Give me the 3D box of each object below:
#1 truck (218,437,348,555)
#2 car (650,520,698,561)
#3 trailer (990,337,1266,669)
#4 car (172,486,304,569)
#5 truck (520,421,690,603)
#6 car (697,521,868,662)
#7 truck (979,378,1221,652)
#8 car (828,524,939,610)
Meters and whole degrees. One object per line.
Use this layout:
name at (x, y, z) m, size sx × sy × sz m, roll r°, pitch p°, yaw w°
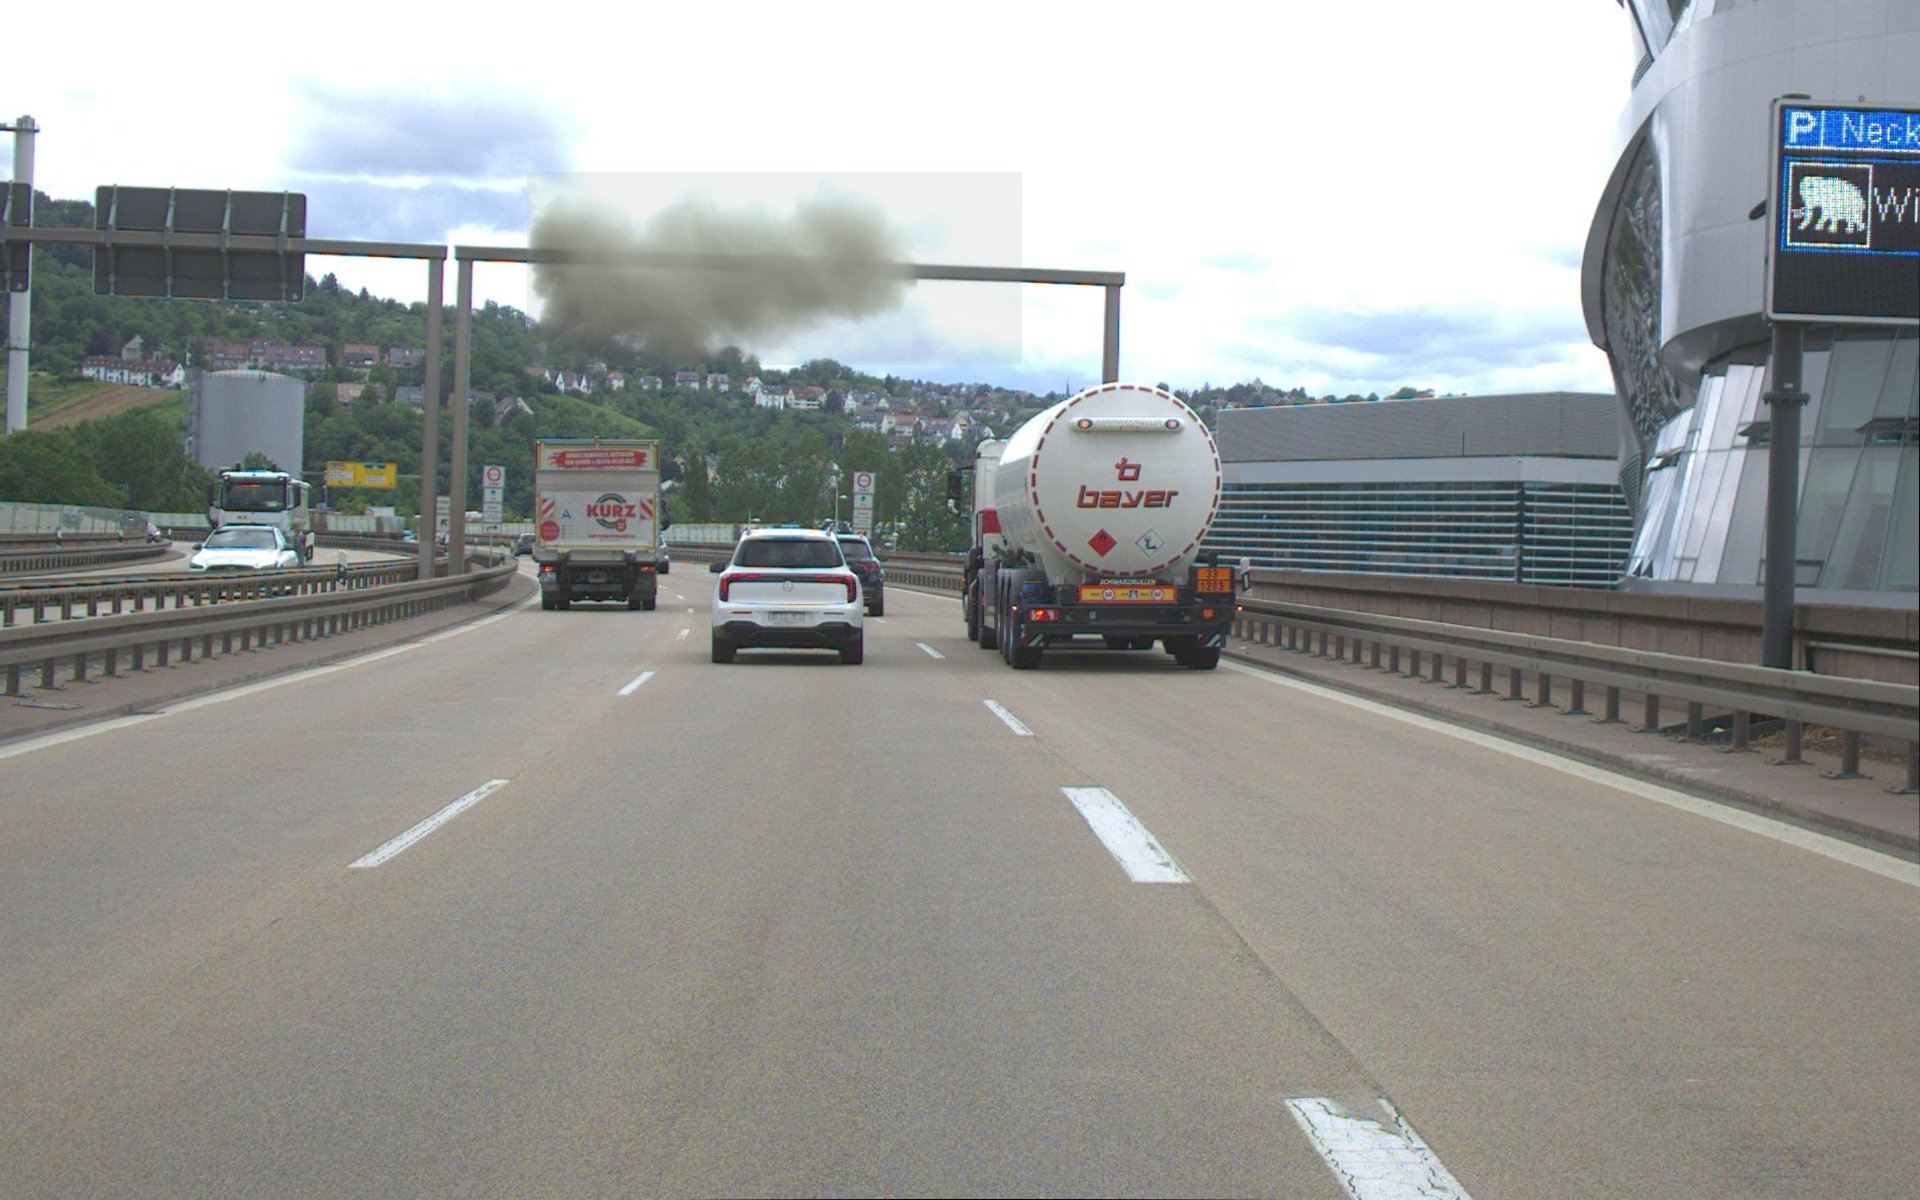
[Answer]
truck at (-22.855, -3.426, 116.631) m, size 3.056 × 3.763 × 12.521 m, roll 1°, pitch 1°, yaw -5°
car at (-11.948, -2.463, 143.942) m, size 1.683 × 1.644 × 4.360 m, roll 2°, pitch 1°, yaw -1°
trailer at (1.970, -1.168, 43.686) m, size 3.057 × 3.777 × 8.304 m, roll 1°, pitch 1°, yaw 0°
car at (-14.675, -1.450, 70.111) m, size 1.993 × 1.601 × 4.808 m, roll 1°, pitch 1°, yaw -4°
truck at (-7.569, -1.847, 74.355) m, size 3.057 × 3.678 × 8.304 m, roll 1°, pitch 1°, yaw -2°
car at (-2.193, -0.126, 43.535) m, size 1.993 × 1.669 × 4.408 m, roll 1°, pitch 1°, yaw -1°
truck at (1.895, -1.175, 49.282) m, size 3.014 × 3.644 × 6.274 m, roll 1°, pitch 1°, yaw -1°
car at (-1.574, -0.667, 69.424) m, size 1.993 × 1.669 × 4.409 m, roll 1°, pitch 1°, yaw -4°
